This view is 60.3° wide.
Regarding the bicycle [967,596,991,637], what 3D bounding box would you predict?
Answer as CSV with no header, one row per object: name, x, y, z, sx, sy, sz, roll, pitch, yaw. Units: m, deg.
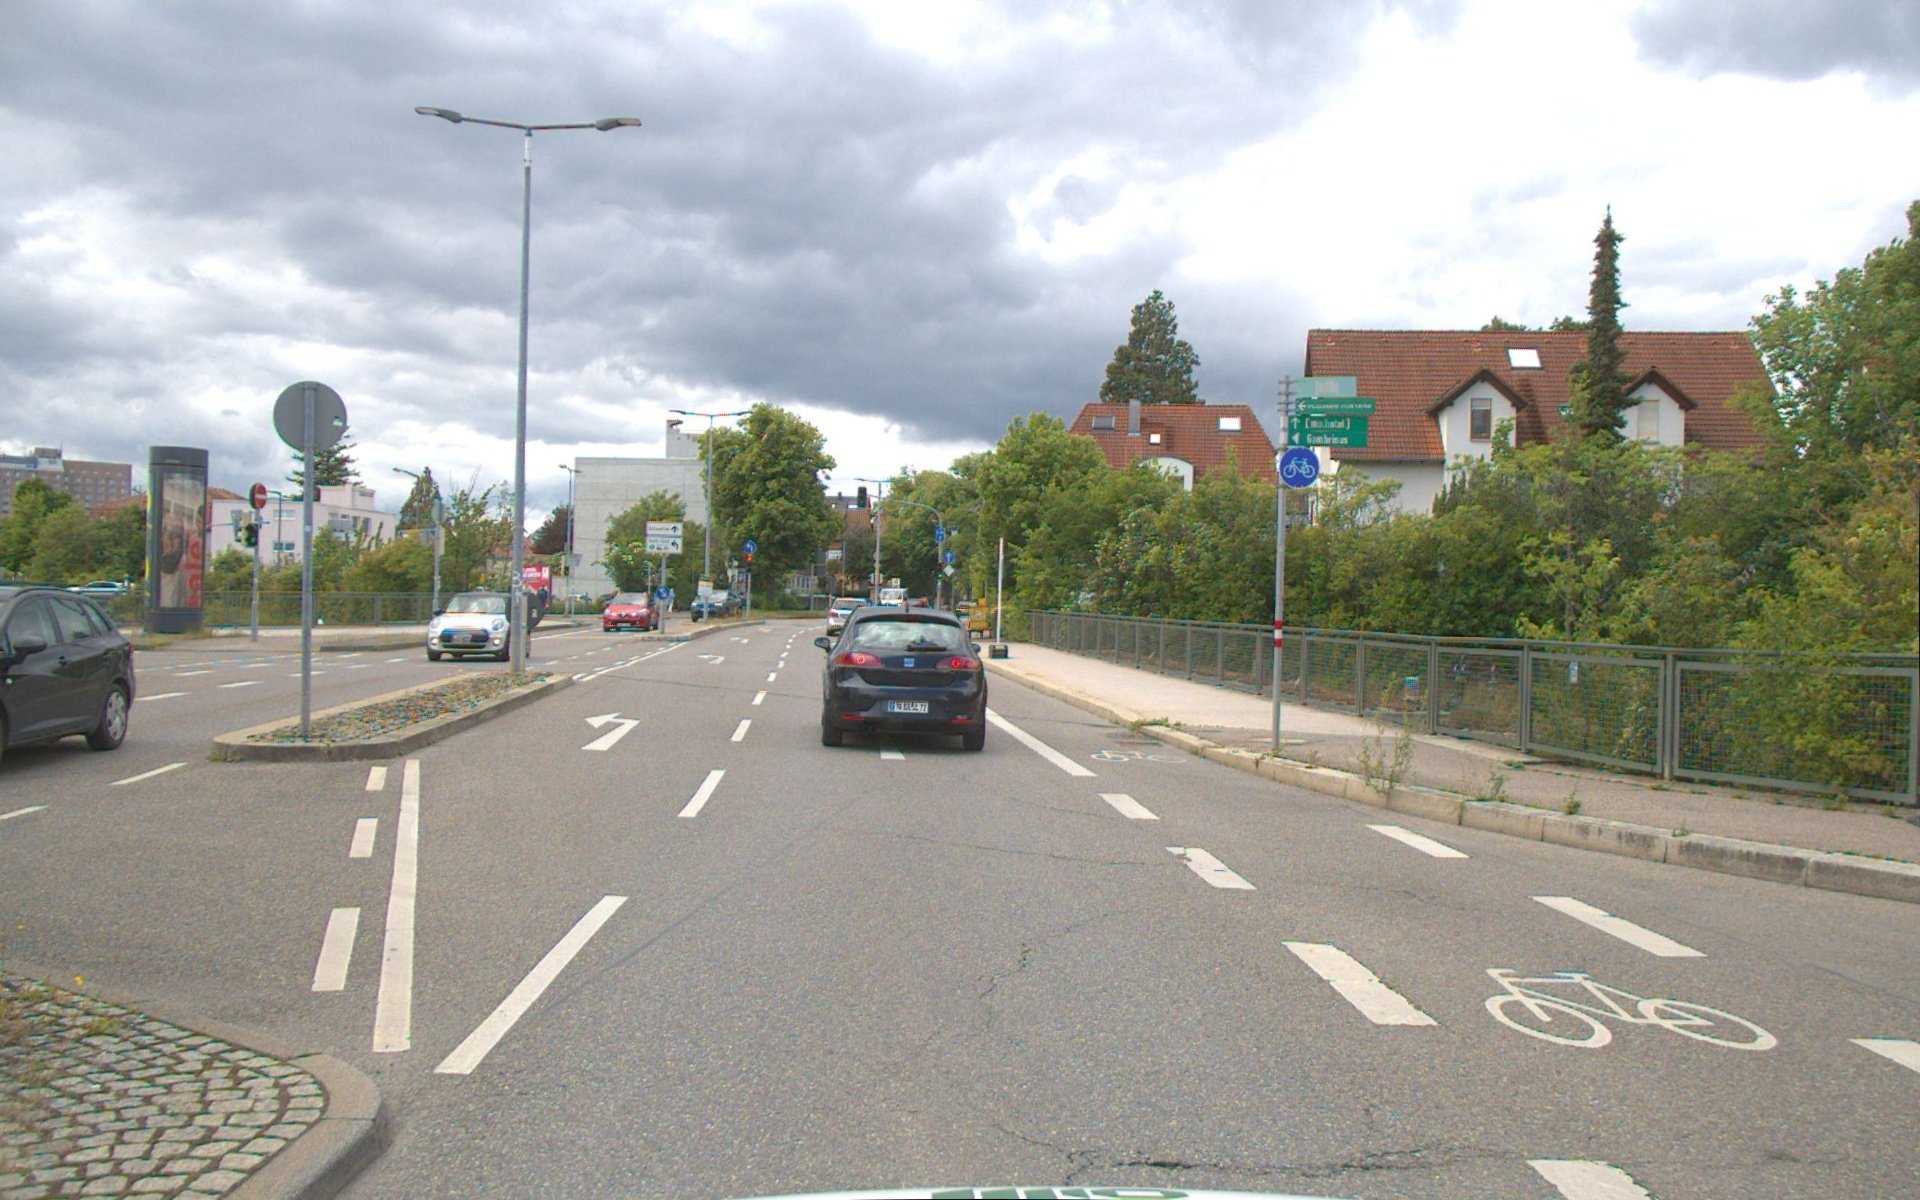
bicycle,0.732,0.608,63.030,0.873,1.537,2.783,1,0,1

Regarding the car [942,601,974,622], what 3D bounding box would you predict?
car,-0.147,0.947,140.391,1.951,1.713,4.003,1,0,11

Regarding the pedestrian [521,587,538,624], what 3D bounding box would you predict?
pedestrian,-19.874,0.243,76.309,0.644,1.662,0.831,3,-1,-11

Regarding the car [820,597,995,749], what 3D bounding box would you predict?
car,-0.559,0.724,18.251,1.724,1.474,3.713,1,0,-1

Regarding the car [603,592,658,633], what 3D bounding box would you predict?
car,-12.619,0.455,63.439,1.687,1.473,4.061,2,0,-7

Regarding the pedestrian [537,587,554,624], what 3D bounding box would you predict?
pedestrian,-19.131,0.259,76.379,0.644,1.662,1.068,3,-1,-11

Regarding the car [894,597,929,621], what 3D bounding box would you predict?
car,-3.168,0.557,106.960,1.904,1.507,4.247,1,0,-7

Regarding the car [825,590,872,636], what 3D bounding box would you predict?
car,-4.390,0.501,65.268,1.783,1.729,4.250,1,0,-3

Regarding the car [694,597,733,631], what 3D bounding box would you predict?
car,-12.585,0.687,84.523,1.788,1.655,4.273,1,0,-7

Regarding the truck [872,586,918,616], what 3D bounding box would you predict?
truck,-4.988,0.087,128.598,2.080,2.304,6.811,1,0,11

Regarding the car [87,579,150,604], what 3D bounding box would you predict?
car,-59.847,-0.595,117.641,3.946,1.691,1.718,1,1,-31

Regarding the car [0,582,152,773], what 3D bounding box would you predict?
car,-8.074,0.581,13.224,1.687,1.415,3.912,0,0,-7

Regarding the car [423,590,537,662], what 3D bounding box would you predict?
car,-10.334,0.538,35.855,1.611,1.433,3.815,2,0,-5
